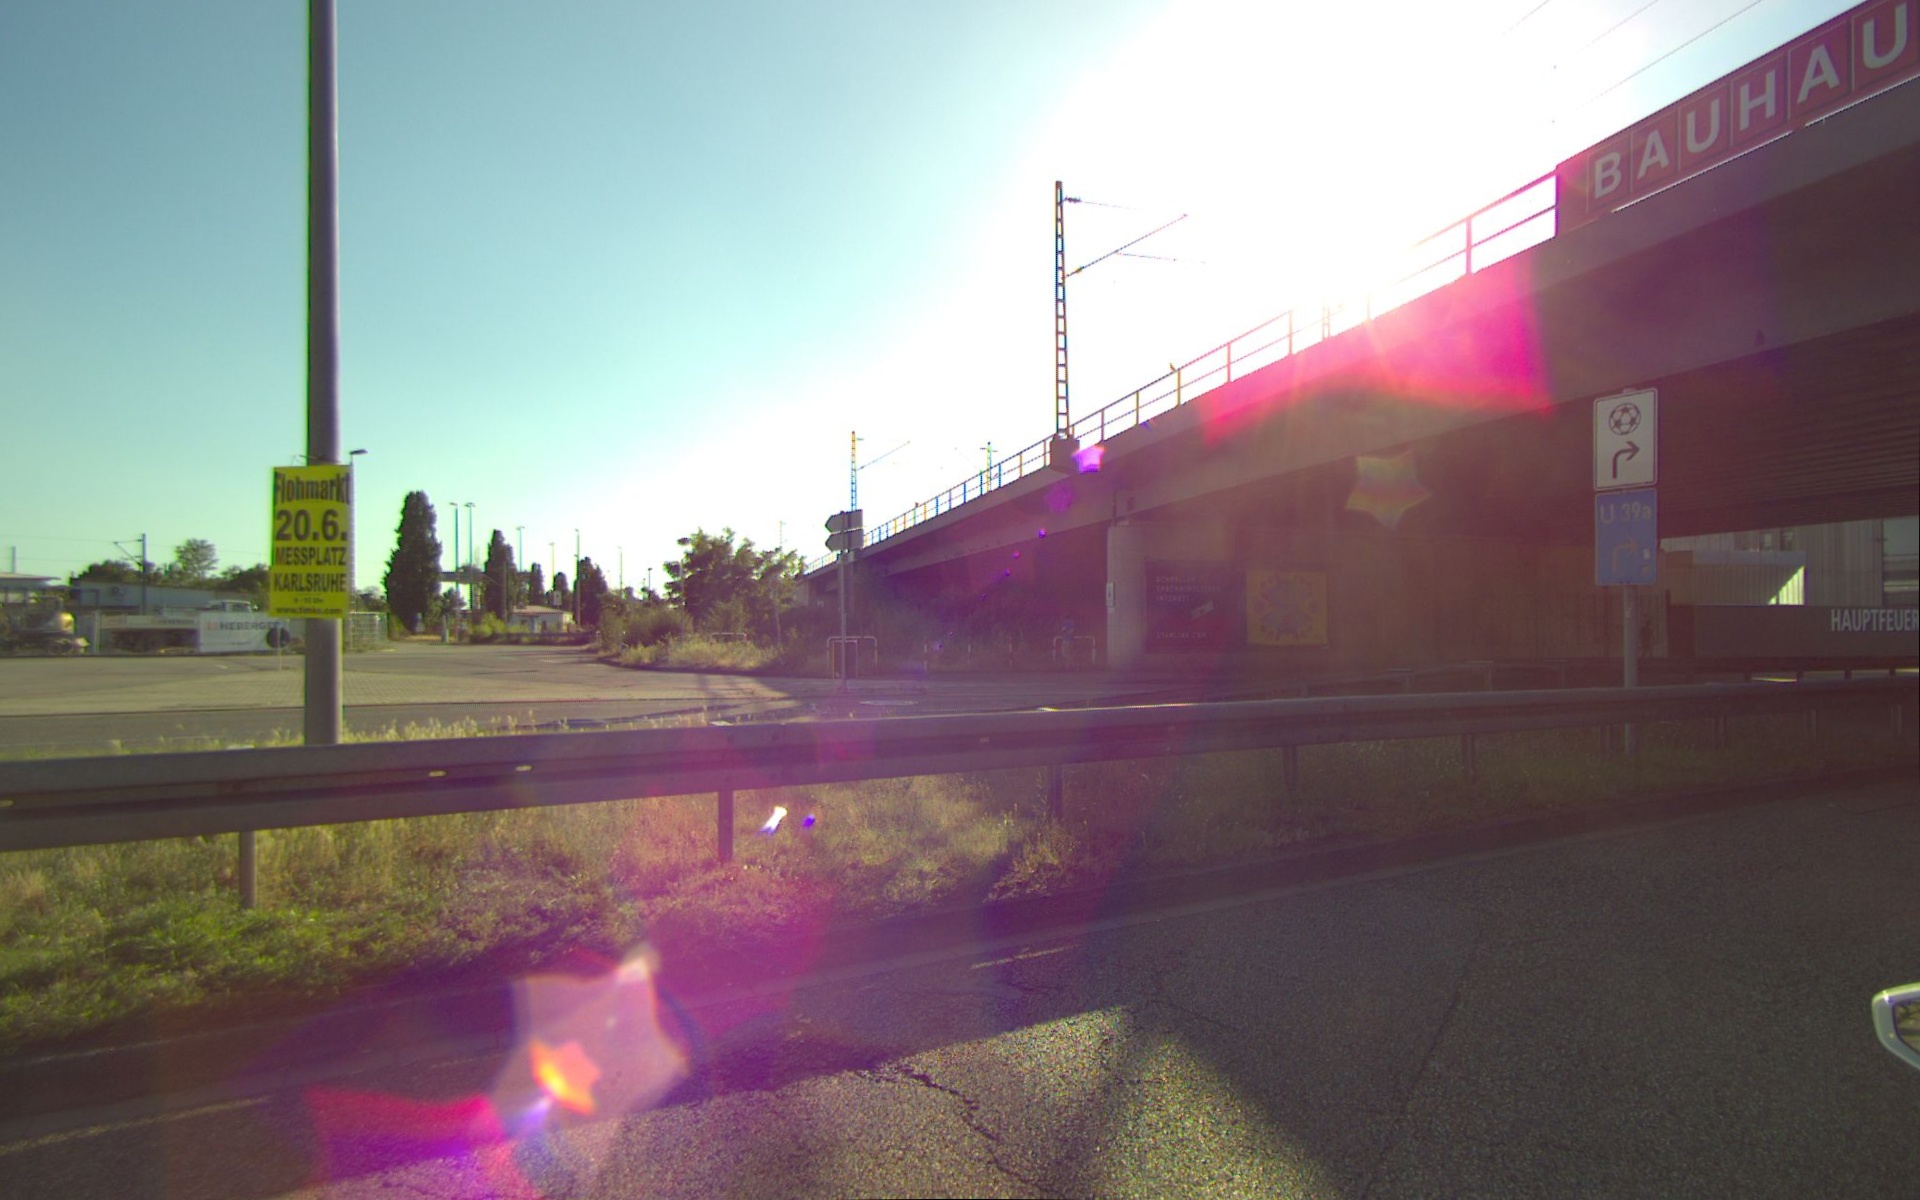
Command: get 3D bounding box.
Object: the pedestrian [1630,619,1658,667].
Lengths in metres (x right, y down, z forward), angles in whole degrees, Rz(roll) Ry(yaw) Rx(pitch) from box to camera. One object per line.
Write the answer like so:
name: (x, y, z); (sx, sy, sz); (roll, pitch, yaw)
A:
pedestrian: (27.627, 1.727, 40.600); (0.655, 1.928, 0.692); (2, -1, -23)

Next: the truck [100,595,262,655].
truck: (-43.544, 1.436, 56.414); (2.393, 3.186, 6.773); (1, -2, 26)

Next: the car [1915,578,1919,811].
car: (9.596, 0.771, 7.855); (4.406, 1.761, 1.822); (2, -2, -28)

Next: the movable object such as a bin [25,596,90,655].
movable object such as a bin: (-43.353, 1.249, 48.309); (2.204, 2.751, 1.718); (3, -2, -42)
